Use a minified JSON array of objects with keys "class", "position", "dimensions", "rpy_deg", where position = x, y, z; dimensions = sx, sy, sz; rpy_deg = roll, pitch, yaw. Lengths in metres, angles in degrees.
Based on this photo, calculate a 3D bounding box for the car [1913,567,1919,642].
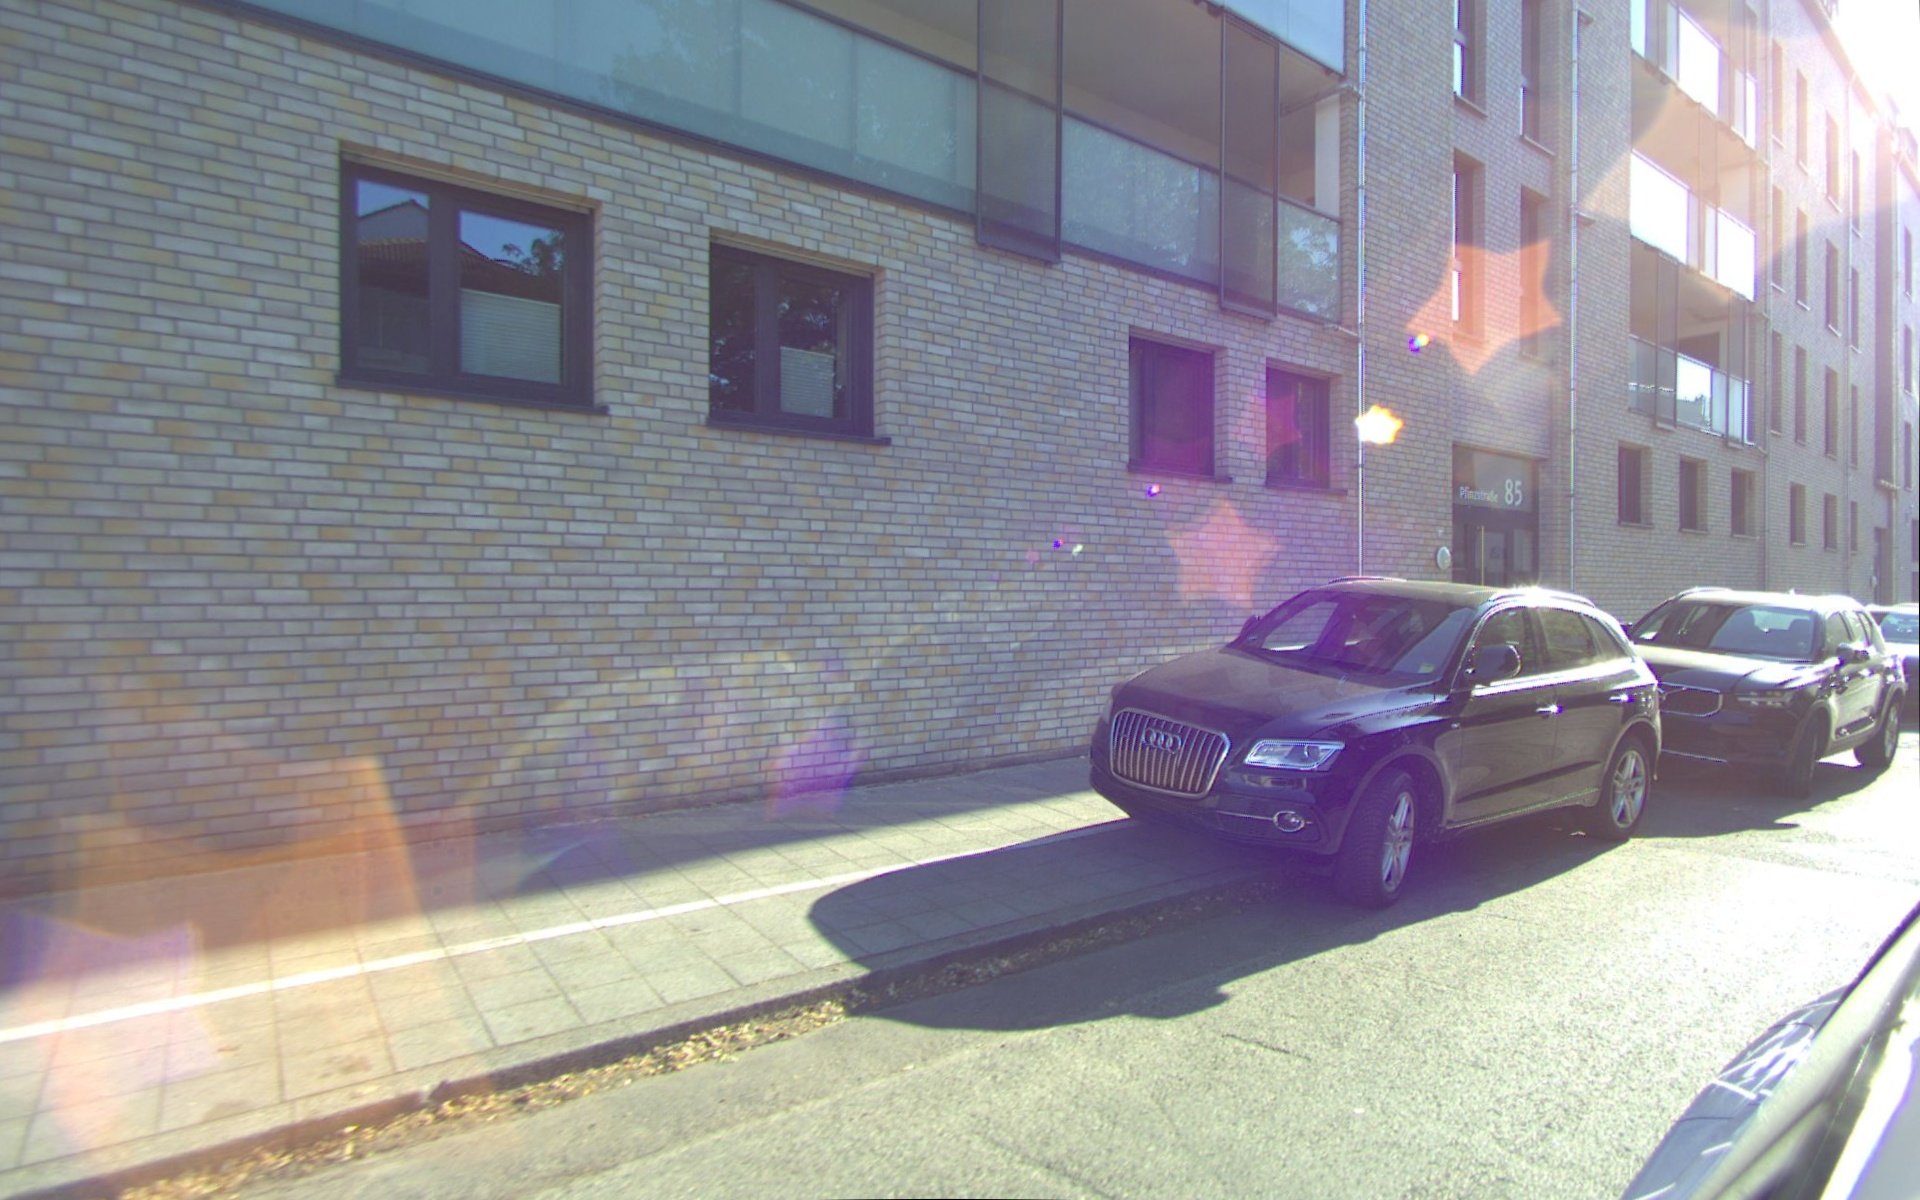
[{"class":"car","position":[22.170,0.114,21.793],"dimensions":[4.542,1.548,1.730],"rpy_deg":[-1,4,-39]}]

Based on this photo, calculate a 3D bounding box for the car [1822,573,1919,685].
[{"class":"car","position":[14.360,0.347,15.046],"dimensions":[4.638,1.485,1.699],"rpy_deg":[-1,2,-41]}]

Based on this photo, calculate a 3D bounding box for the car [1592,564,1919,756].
[{"class":"car","position":[7.980,0.429,9.861],"dimensions":[4.193,1.485,1.820],"rpy_deg":[-1,1,-39]}]

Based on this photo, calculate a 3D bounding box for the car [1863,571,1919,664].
[{"class":"car","position":[17.694,0.268,18.177],"dimensions":[4.145,1.535,1.667],"rpy_deg":[-1,2,-41]}]

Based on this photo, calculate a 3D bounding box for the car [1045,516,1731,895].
[{"class":"car","position":[2.998,0.483,6.715],"dimensions":[4.680,1.734,1.897],"rpy_deg":[0,0,-33]}]
